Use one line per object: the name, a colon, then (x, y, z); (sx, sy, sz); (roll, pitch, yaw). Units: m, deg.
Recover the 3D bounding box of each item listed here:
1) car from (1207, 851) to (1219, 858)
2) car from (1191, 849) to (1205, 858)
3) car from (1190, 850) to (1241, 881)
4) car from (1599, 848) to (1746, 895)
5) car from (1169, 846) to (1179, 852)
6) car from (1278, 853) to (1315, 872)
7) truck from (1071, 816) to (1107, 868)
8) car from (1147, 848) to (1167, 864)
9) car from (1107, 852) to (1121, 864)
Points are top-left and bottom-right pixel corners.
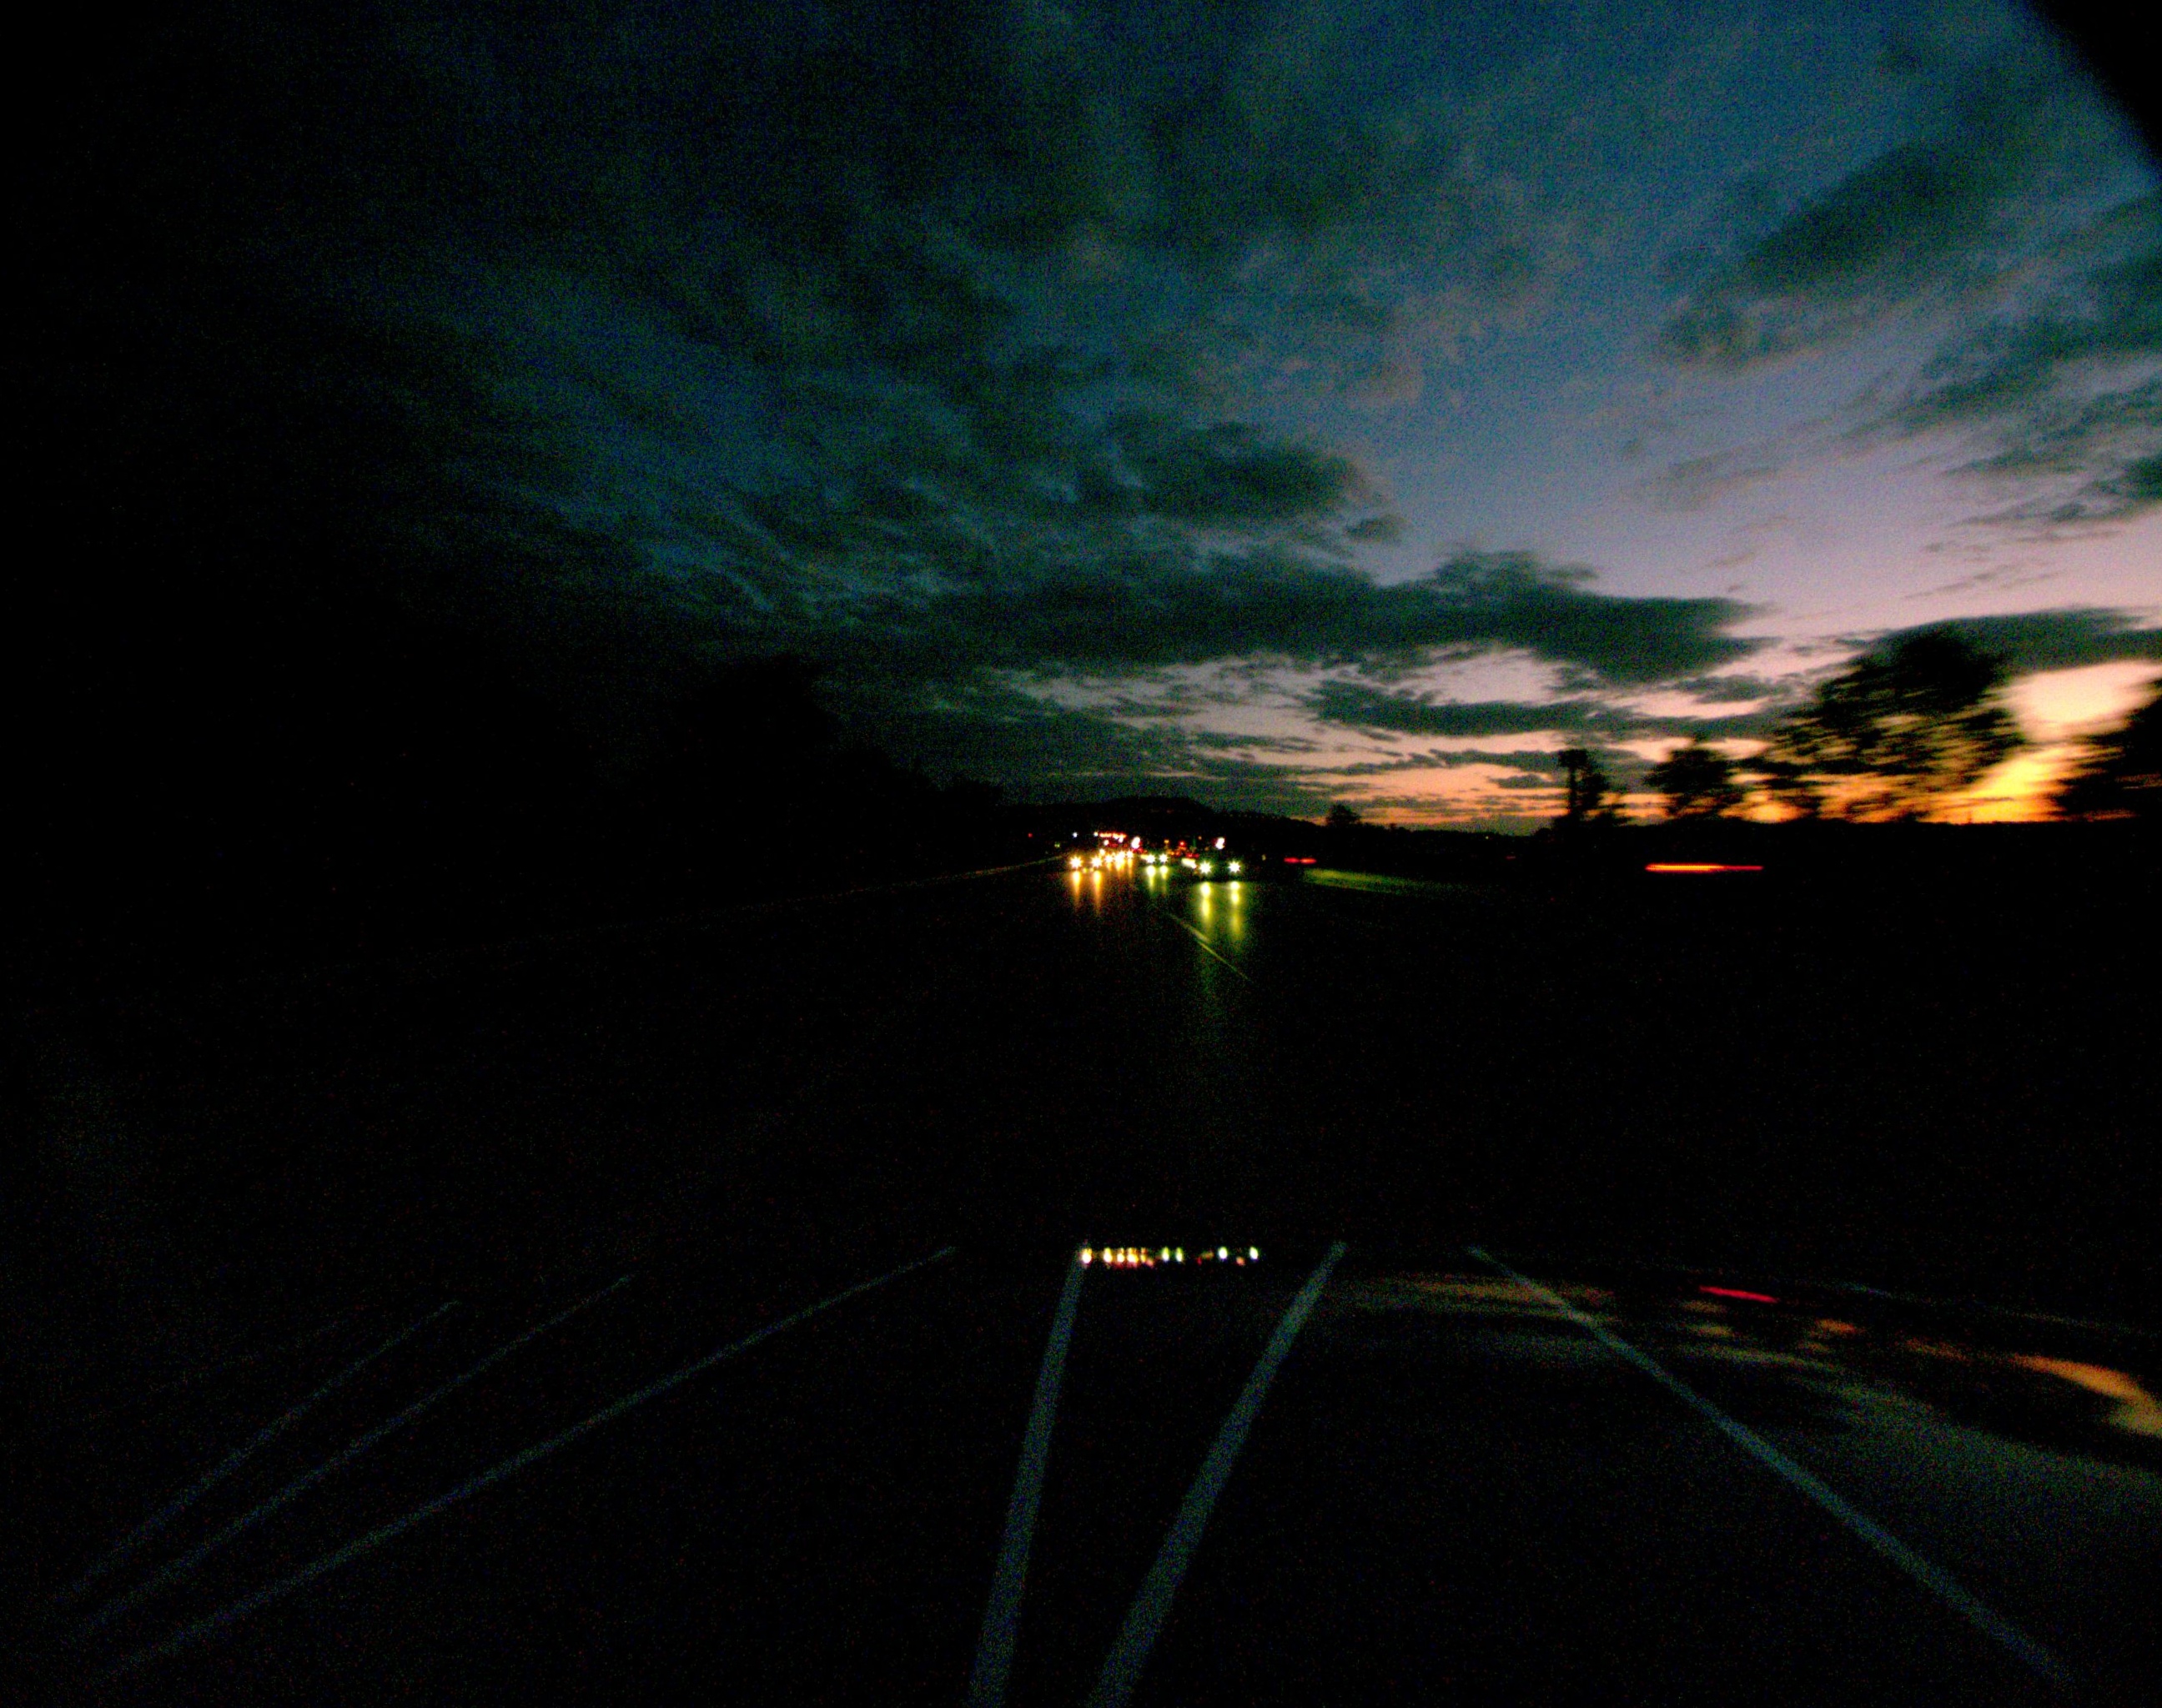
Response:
car: (25.904, 0.080, 149.505); (1.722, 1.171, 3.999); (-2, 1, 1)
car: (18.330, -0.141, 118.916); (1.658, 1.282, 3.645); (-2, 1, 1)
car: (7.299, 0.583, 41.780); (1.819, 1.429, 5.394); (-2, 1, 1)
car: (19.619, 0.517, 25.454); (1.748, 1.354, 4.111); (-2, 1, 1)
car: (21.905, -1.190, 179.117); (1.936, 1.171, 3.999); (-2, 1, 1)
car: (16.249, 0.612, 57.507); (1.707, 1.241, 3.999); (-2, 1, 1)
truck: (0.783, -1.054, 74.170); (3.012, 4.570, 12.578); (-2, 0, 1)
car: (8.663, 0.166, 86.764); (1.819, 1.638, 4.856); (-2, 1, 1)
car: (4.850, 0.548, 111.271); (1.802, 1.531, 4.159); (-2, 1, 1)
